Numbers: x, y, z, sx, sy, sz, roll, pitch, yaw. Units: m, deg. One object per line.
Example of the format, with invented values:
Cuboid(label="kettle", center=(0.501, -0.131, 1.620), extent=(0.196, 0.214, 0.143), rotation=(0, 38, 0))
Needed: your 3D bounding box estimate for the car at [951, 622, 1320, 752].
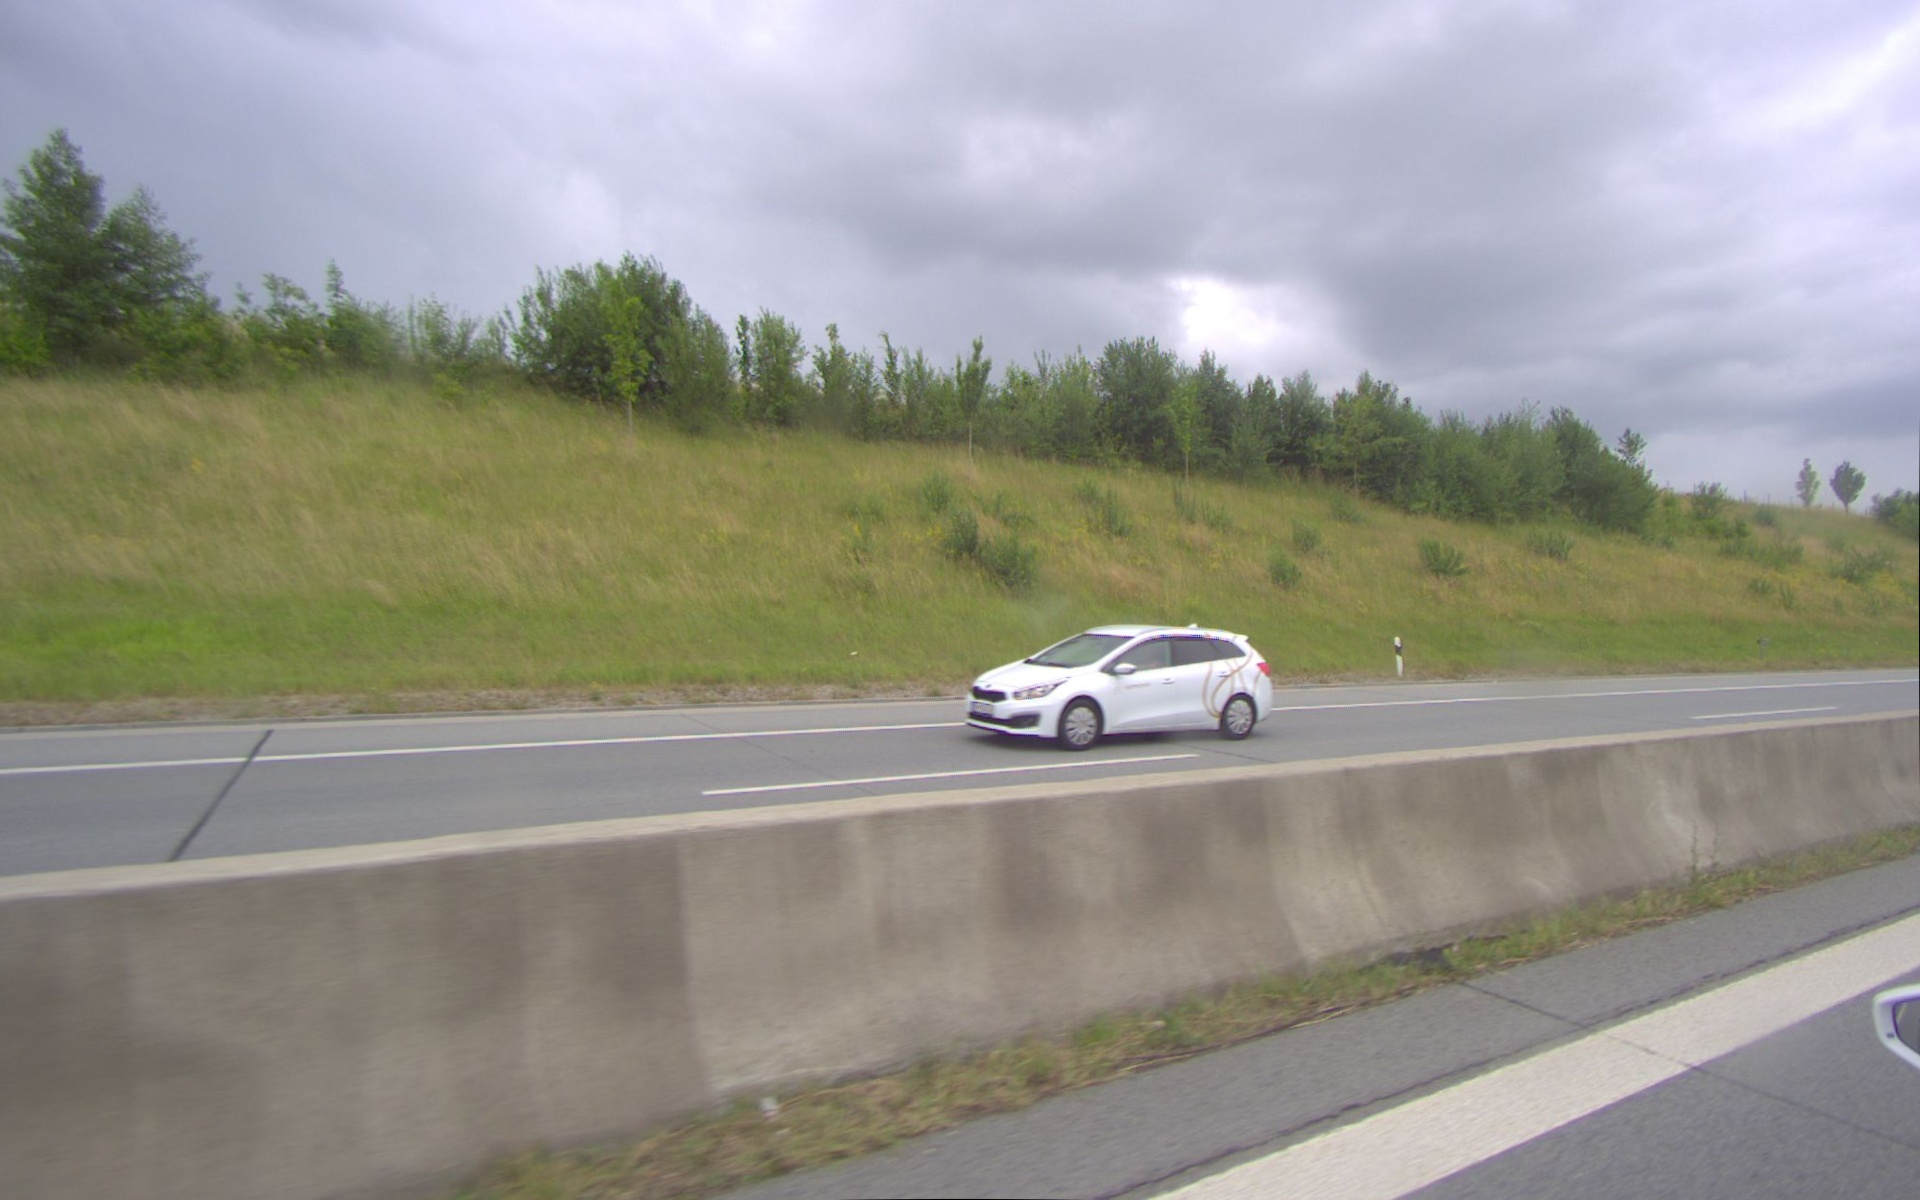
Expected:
Cuboid(label="car", center=(2.448, 1.054, 13.459), extent=(4.958, 1.459, 1.764), rotation=(1, -1, -31))
